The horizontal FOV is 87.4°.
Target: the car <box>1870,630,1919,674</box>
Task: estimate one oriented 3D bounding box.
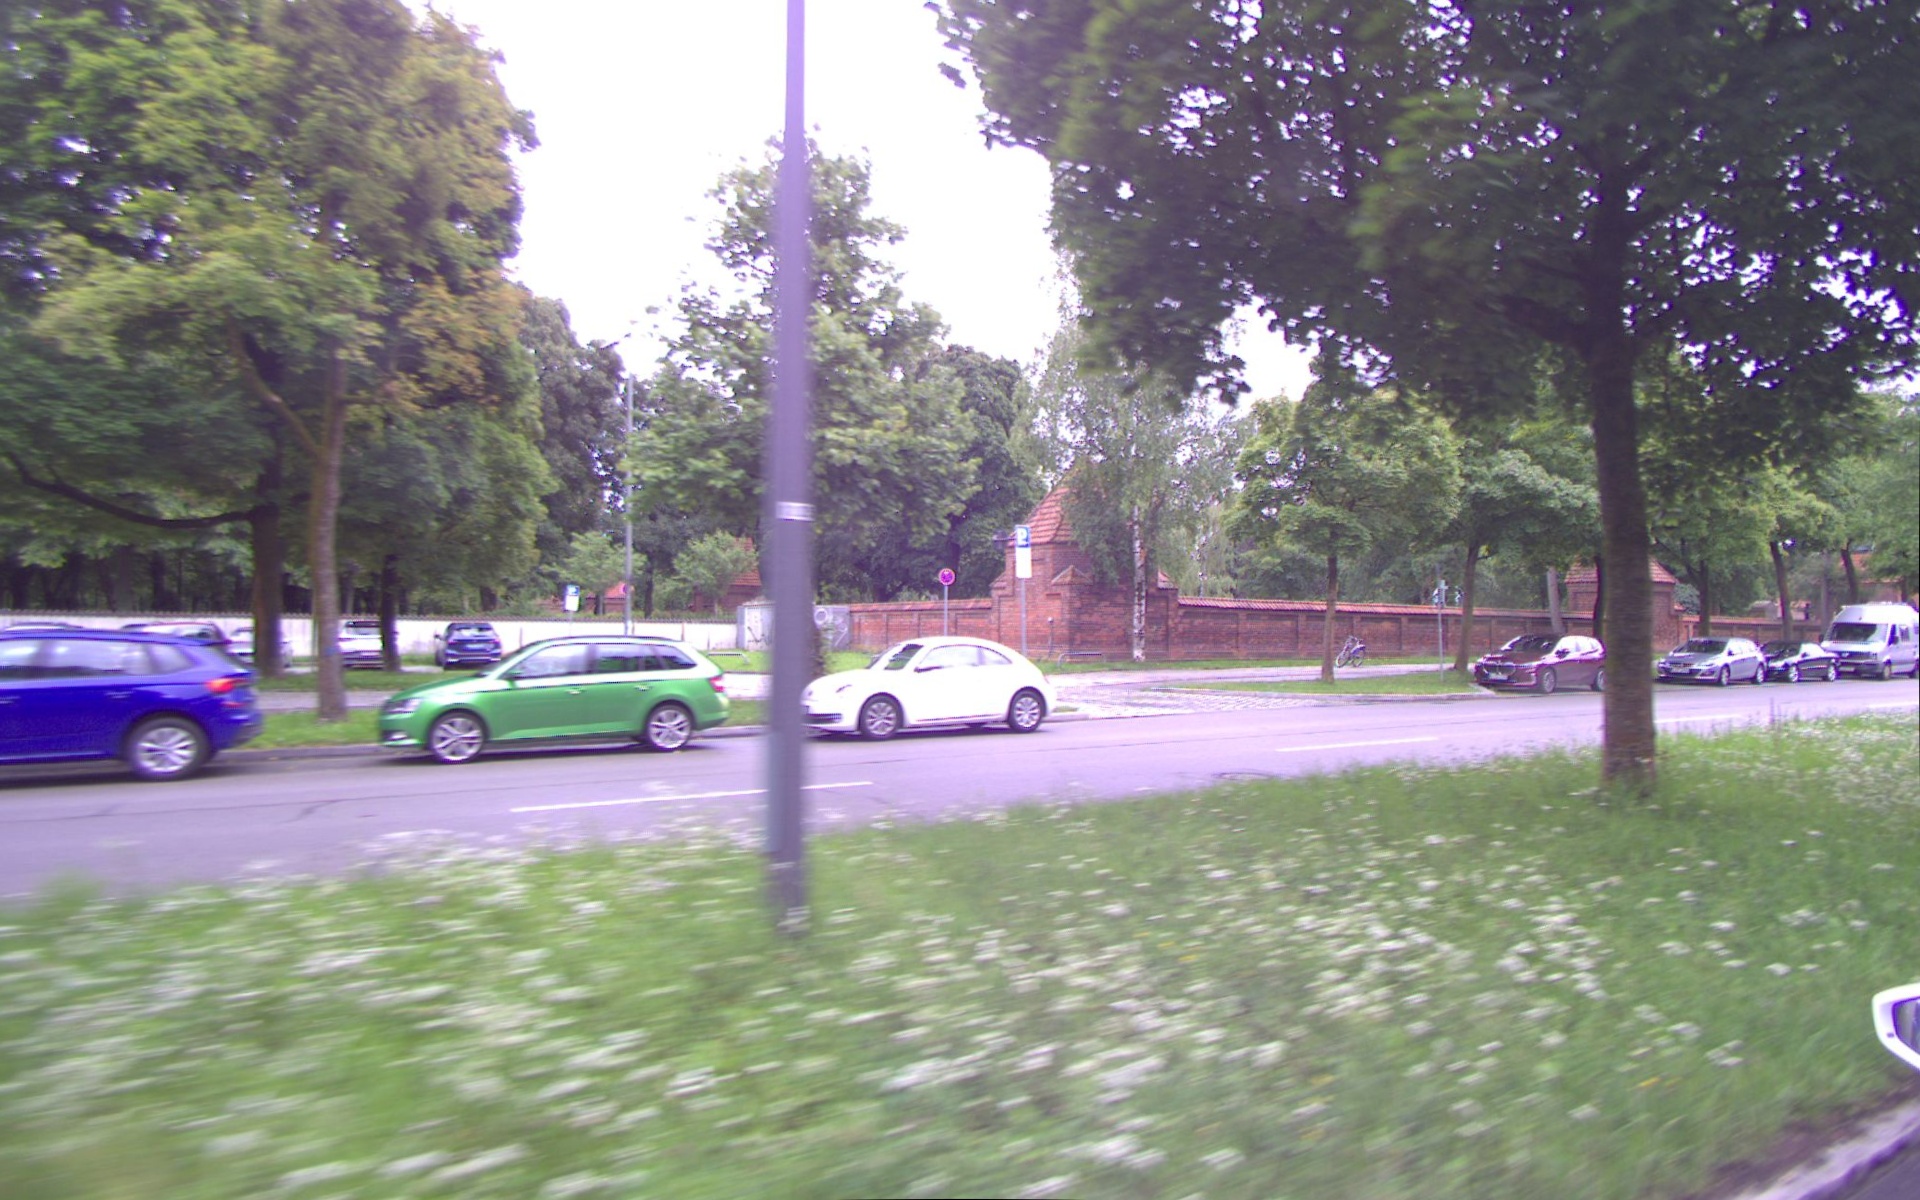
[{"bbox_3d":[40.512,2.166,42.297,4.528,1.759,2.173,1,-1,-33],"label":"car"}]

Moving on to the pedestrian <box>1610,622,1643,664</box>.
[{"bbox_3d":[25.488,1.631,38.429,0.778,1.588,0.777,0,-1,7],"label":"pedestrian"}]

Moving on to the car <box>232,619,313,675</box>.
[{"bbox_3d":[-22.098,1.469,32.422,1.794,1.557,3.968,1,0,-30],"label":"car"}]

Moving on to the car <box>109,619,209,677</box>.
[{"bbox_3d":[-24.494,1.418,30.857,1.794,1.557,3.968,1,0,-30],"label":"car"}]

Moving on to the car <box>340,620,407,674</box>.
[{"bbox_3d":[-19.295,1.504,33.107,1.794,1.557,3.968,1,0,-30],"label":"car"}]

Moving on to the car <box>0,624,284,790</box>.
[{"bbox_3d":[-9.518,1.060,10.217,4.266,1.557,1.877,1,-4,-32],"label":"car"}]

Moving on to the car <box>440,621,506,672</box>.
[{"bbox_3d":[-16.930,1.561,34.837,1.794,1.557,3.968,1,0,-30],"label":"car"}]

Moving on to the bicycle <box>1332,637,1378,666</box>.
[{"bbox_3d":[13.623,1.759,34.636,1.602,0.949,0.651,1,-1,-33],"label":"bicycle"}]

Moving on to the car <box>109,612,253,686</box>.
[{"bbox_3d":[-16.519,0.993,21.518,1.738,1.410,4.395,1,-2,-29],"label":"car"}]

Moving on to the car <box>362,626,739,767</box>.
[{"bbox_3d":[-5.162,1.151,12.902,4.264,1.557,1.631,1,-4,-30],"label":"car"}]

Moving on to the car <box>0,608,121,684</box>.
[{"bbox_3d":[-18.822,0.902,20.571,1.738,1.410,3.960,1,-2,-29],"label":"car"}]

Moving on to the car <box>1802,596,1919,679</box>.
[{"bbox_3d":[34.924,1.400,38.635,6.124,2.993,2.173,1,-1,-33],"label":"car"}]

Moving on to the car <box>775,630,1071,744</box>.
[{"bbox_3d":[-0.527,1.275,15.532,4.264,1.557,1.753,1,-4,-30],"label":"car"}]

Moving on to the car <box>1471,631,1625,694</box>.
[{"bbox_3d":[16.032,1.657,27.354,4.249,1.557,1.804,1,-1,-31],"label":"car"}]

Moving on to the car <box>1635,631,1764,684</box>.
[{"bbox_3d":[23.819,1.821,32.334,4.390,1.557,1.804,1,-1,-31],"label":"car"}]

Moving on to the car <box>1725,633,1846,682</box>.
[{"bbox_3d":[29.052,1.976,35.325,4.764,1.557,1.804,1,-1,-31],"label":"car"}]
